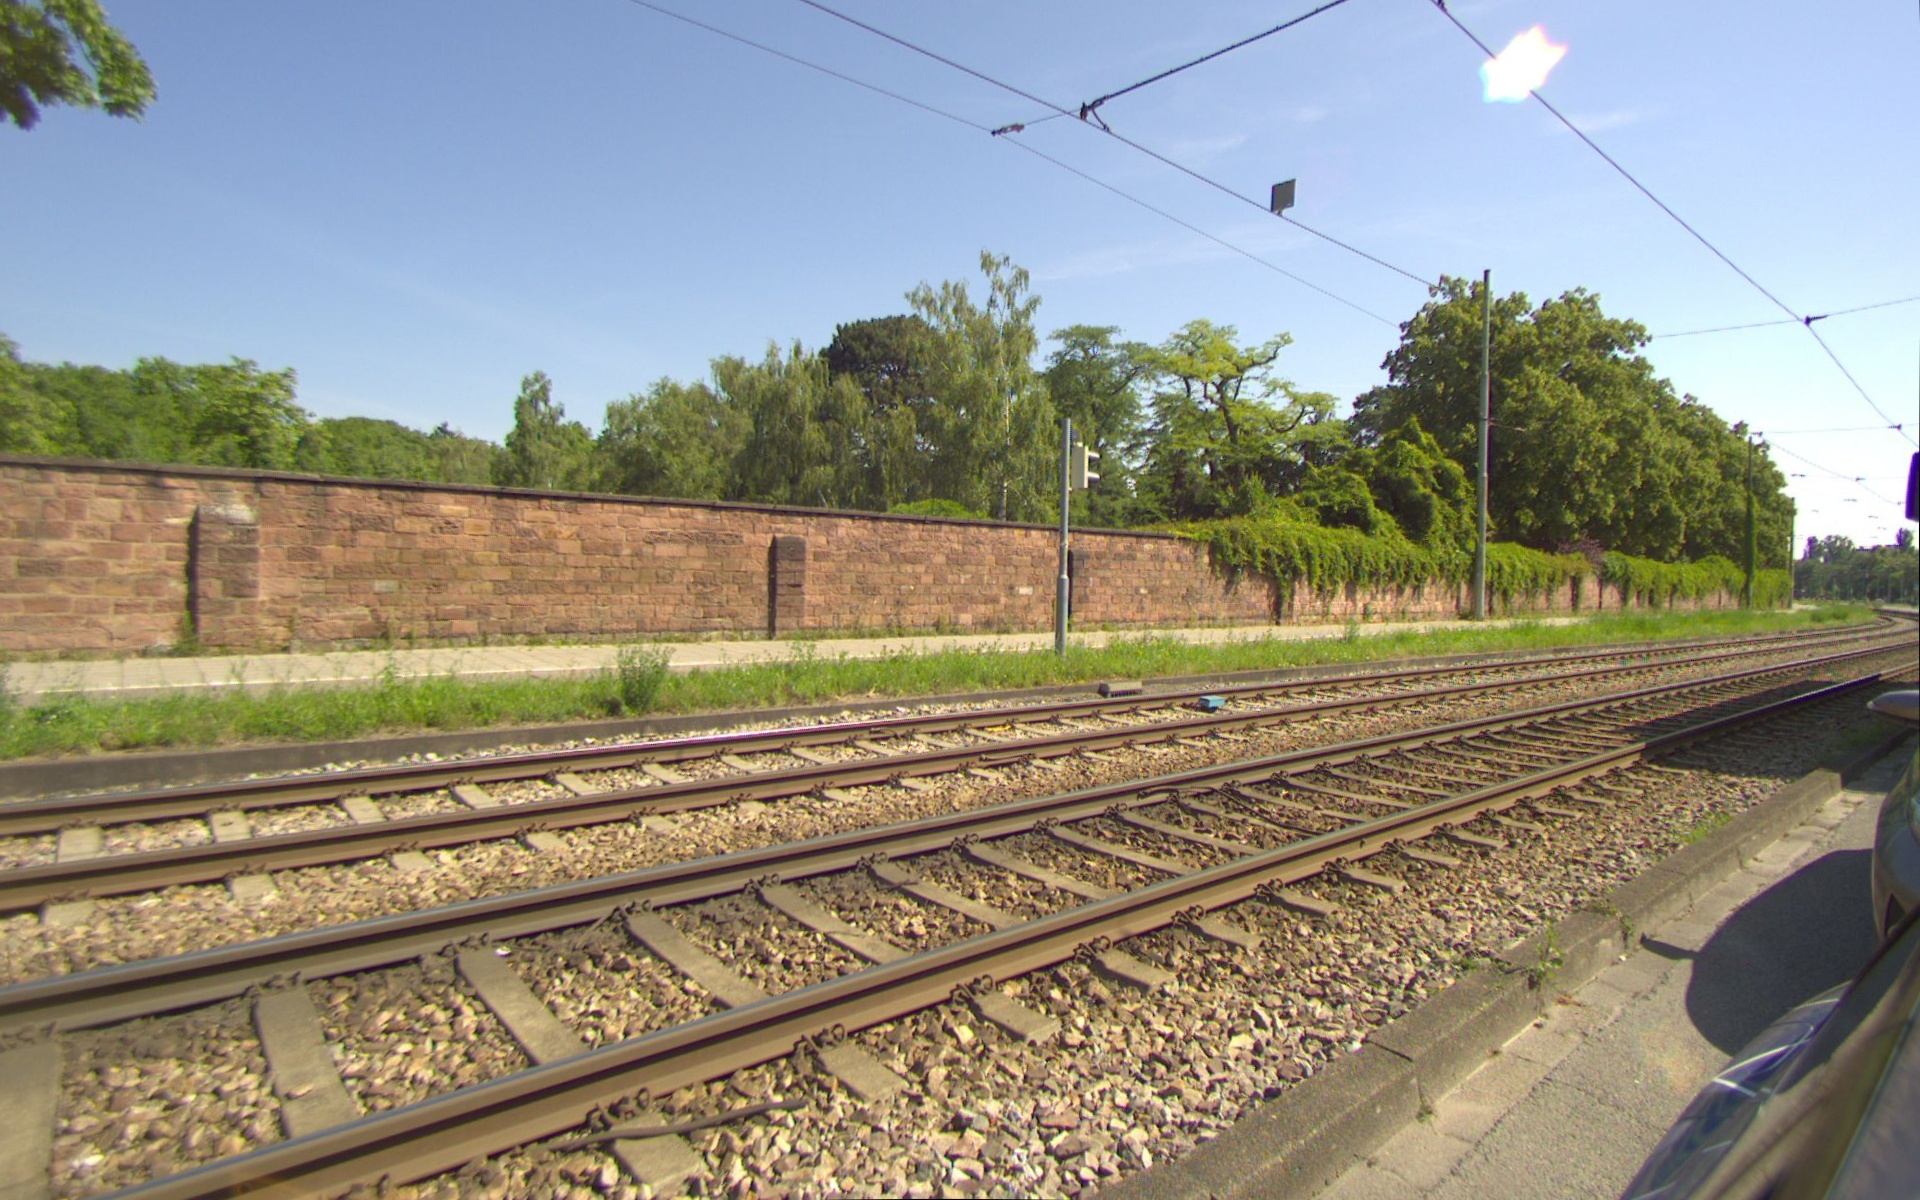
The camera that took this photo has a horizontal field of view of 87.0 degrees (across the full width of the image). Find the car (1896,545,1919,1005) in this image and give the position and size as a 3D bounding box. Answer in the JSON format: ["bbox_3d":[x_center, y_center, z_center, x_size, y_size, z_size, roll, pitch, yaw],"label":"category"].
[{"bbox_3d":[4.998,0.586,3.911,3.930,1.448,1.573,0,2,-41],"label":"car"}]

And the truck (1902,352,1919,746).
[{"bbox_3d":[14.525,-0.674,12.261,14.652,3.927,2.934,0,2,-41],"label":"truck"}]
